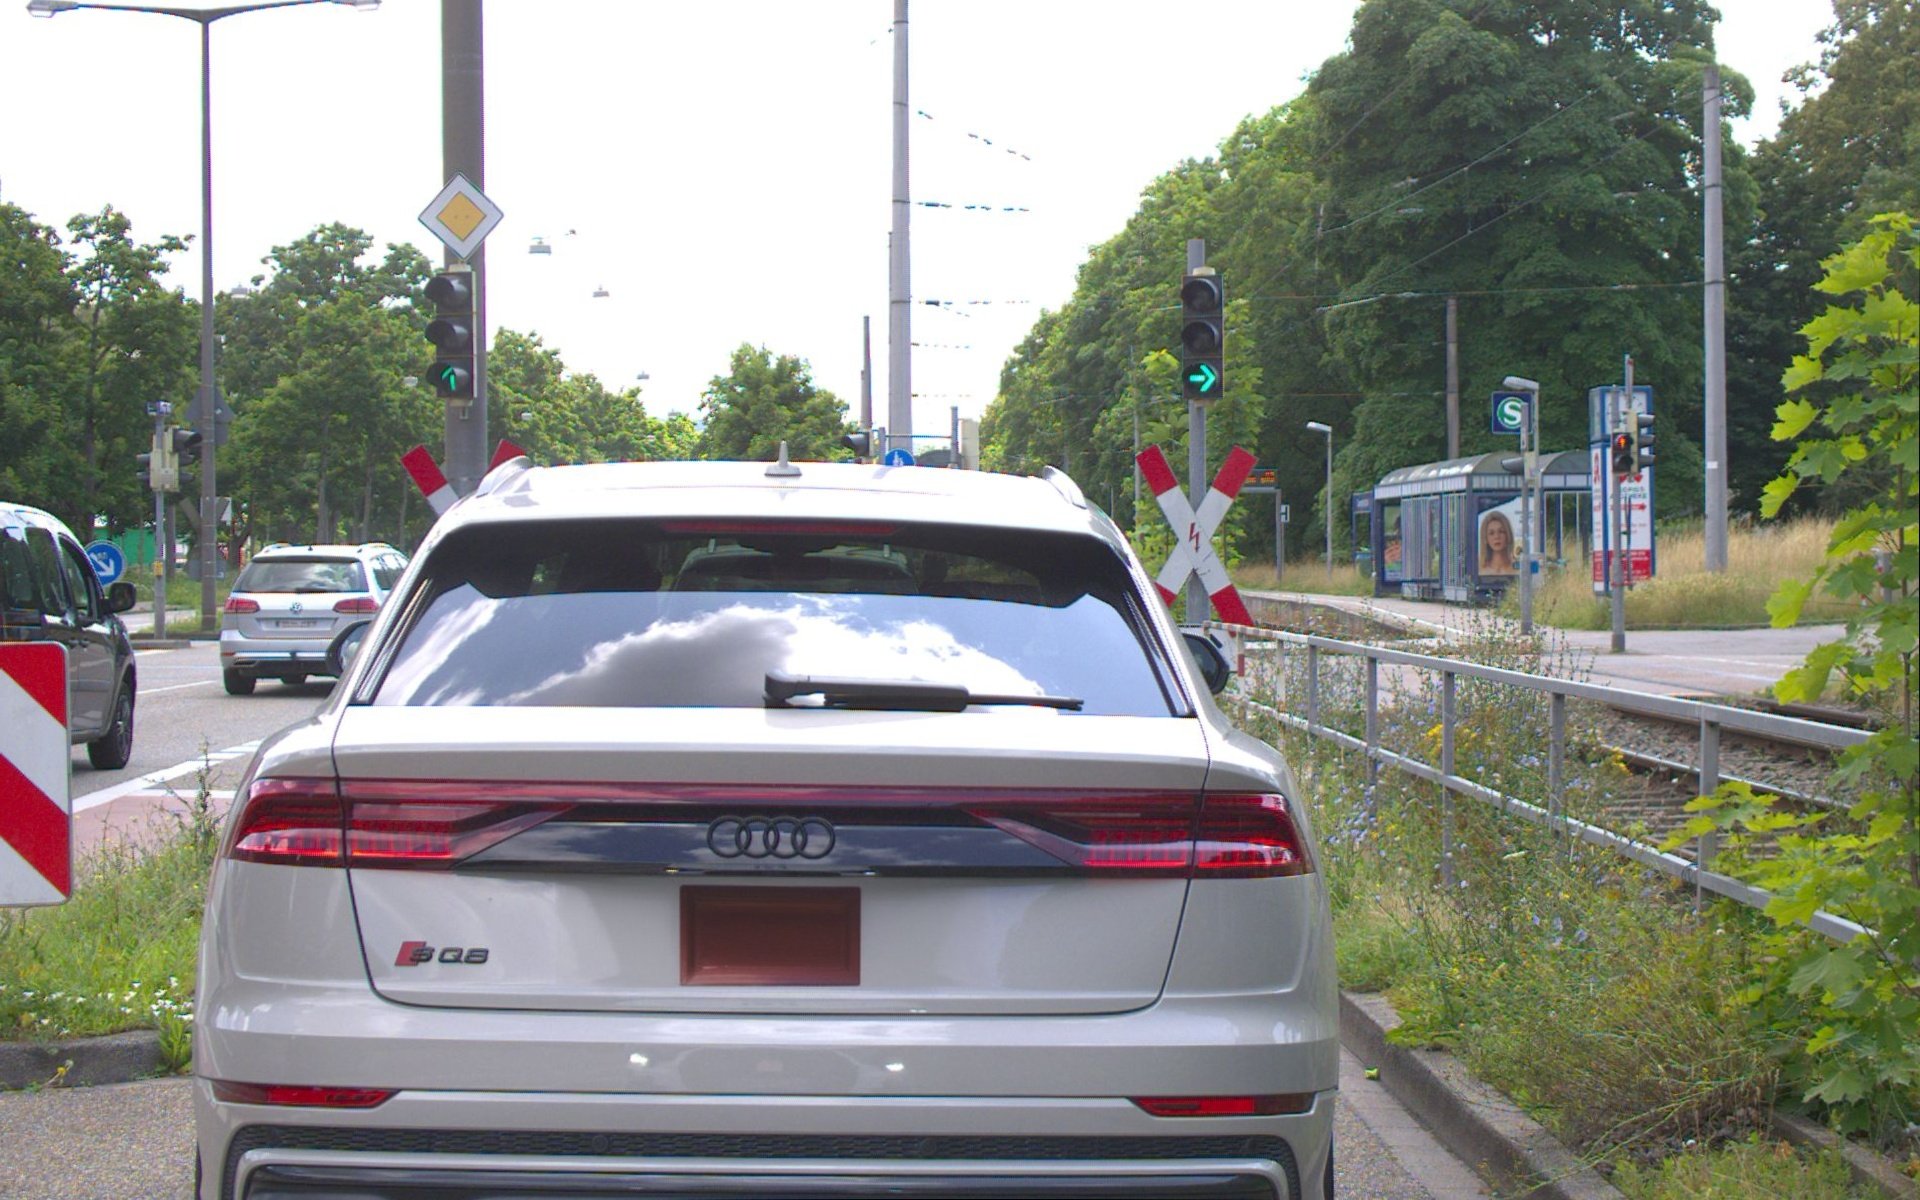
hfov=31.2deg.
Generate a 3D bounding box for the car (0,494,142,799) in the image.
[{"bbox_3d":[-6.480,0.239,21.872,1.759,1.771,3.909,1,1,-3],"label":"car"}]

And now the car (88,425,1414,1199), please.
[{"bbox_3d":[-0.344,0.566,7.470,1.981,1.678,4.574,1,1,-1],"label":"car"}]

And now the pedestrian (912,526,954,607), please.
[{"bbox_3d":[-0.510,-0.634,64.701,0.653,1.508,0.718,-1,1,-10],"label":"pedestrian"}]

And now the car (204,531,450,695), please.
[{"bbox_3d":[-6.262,0.102,34.436,1.785,1.520,4.301,1,1,-2],"label":"car"}]
